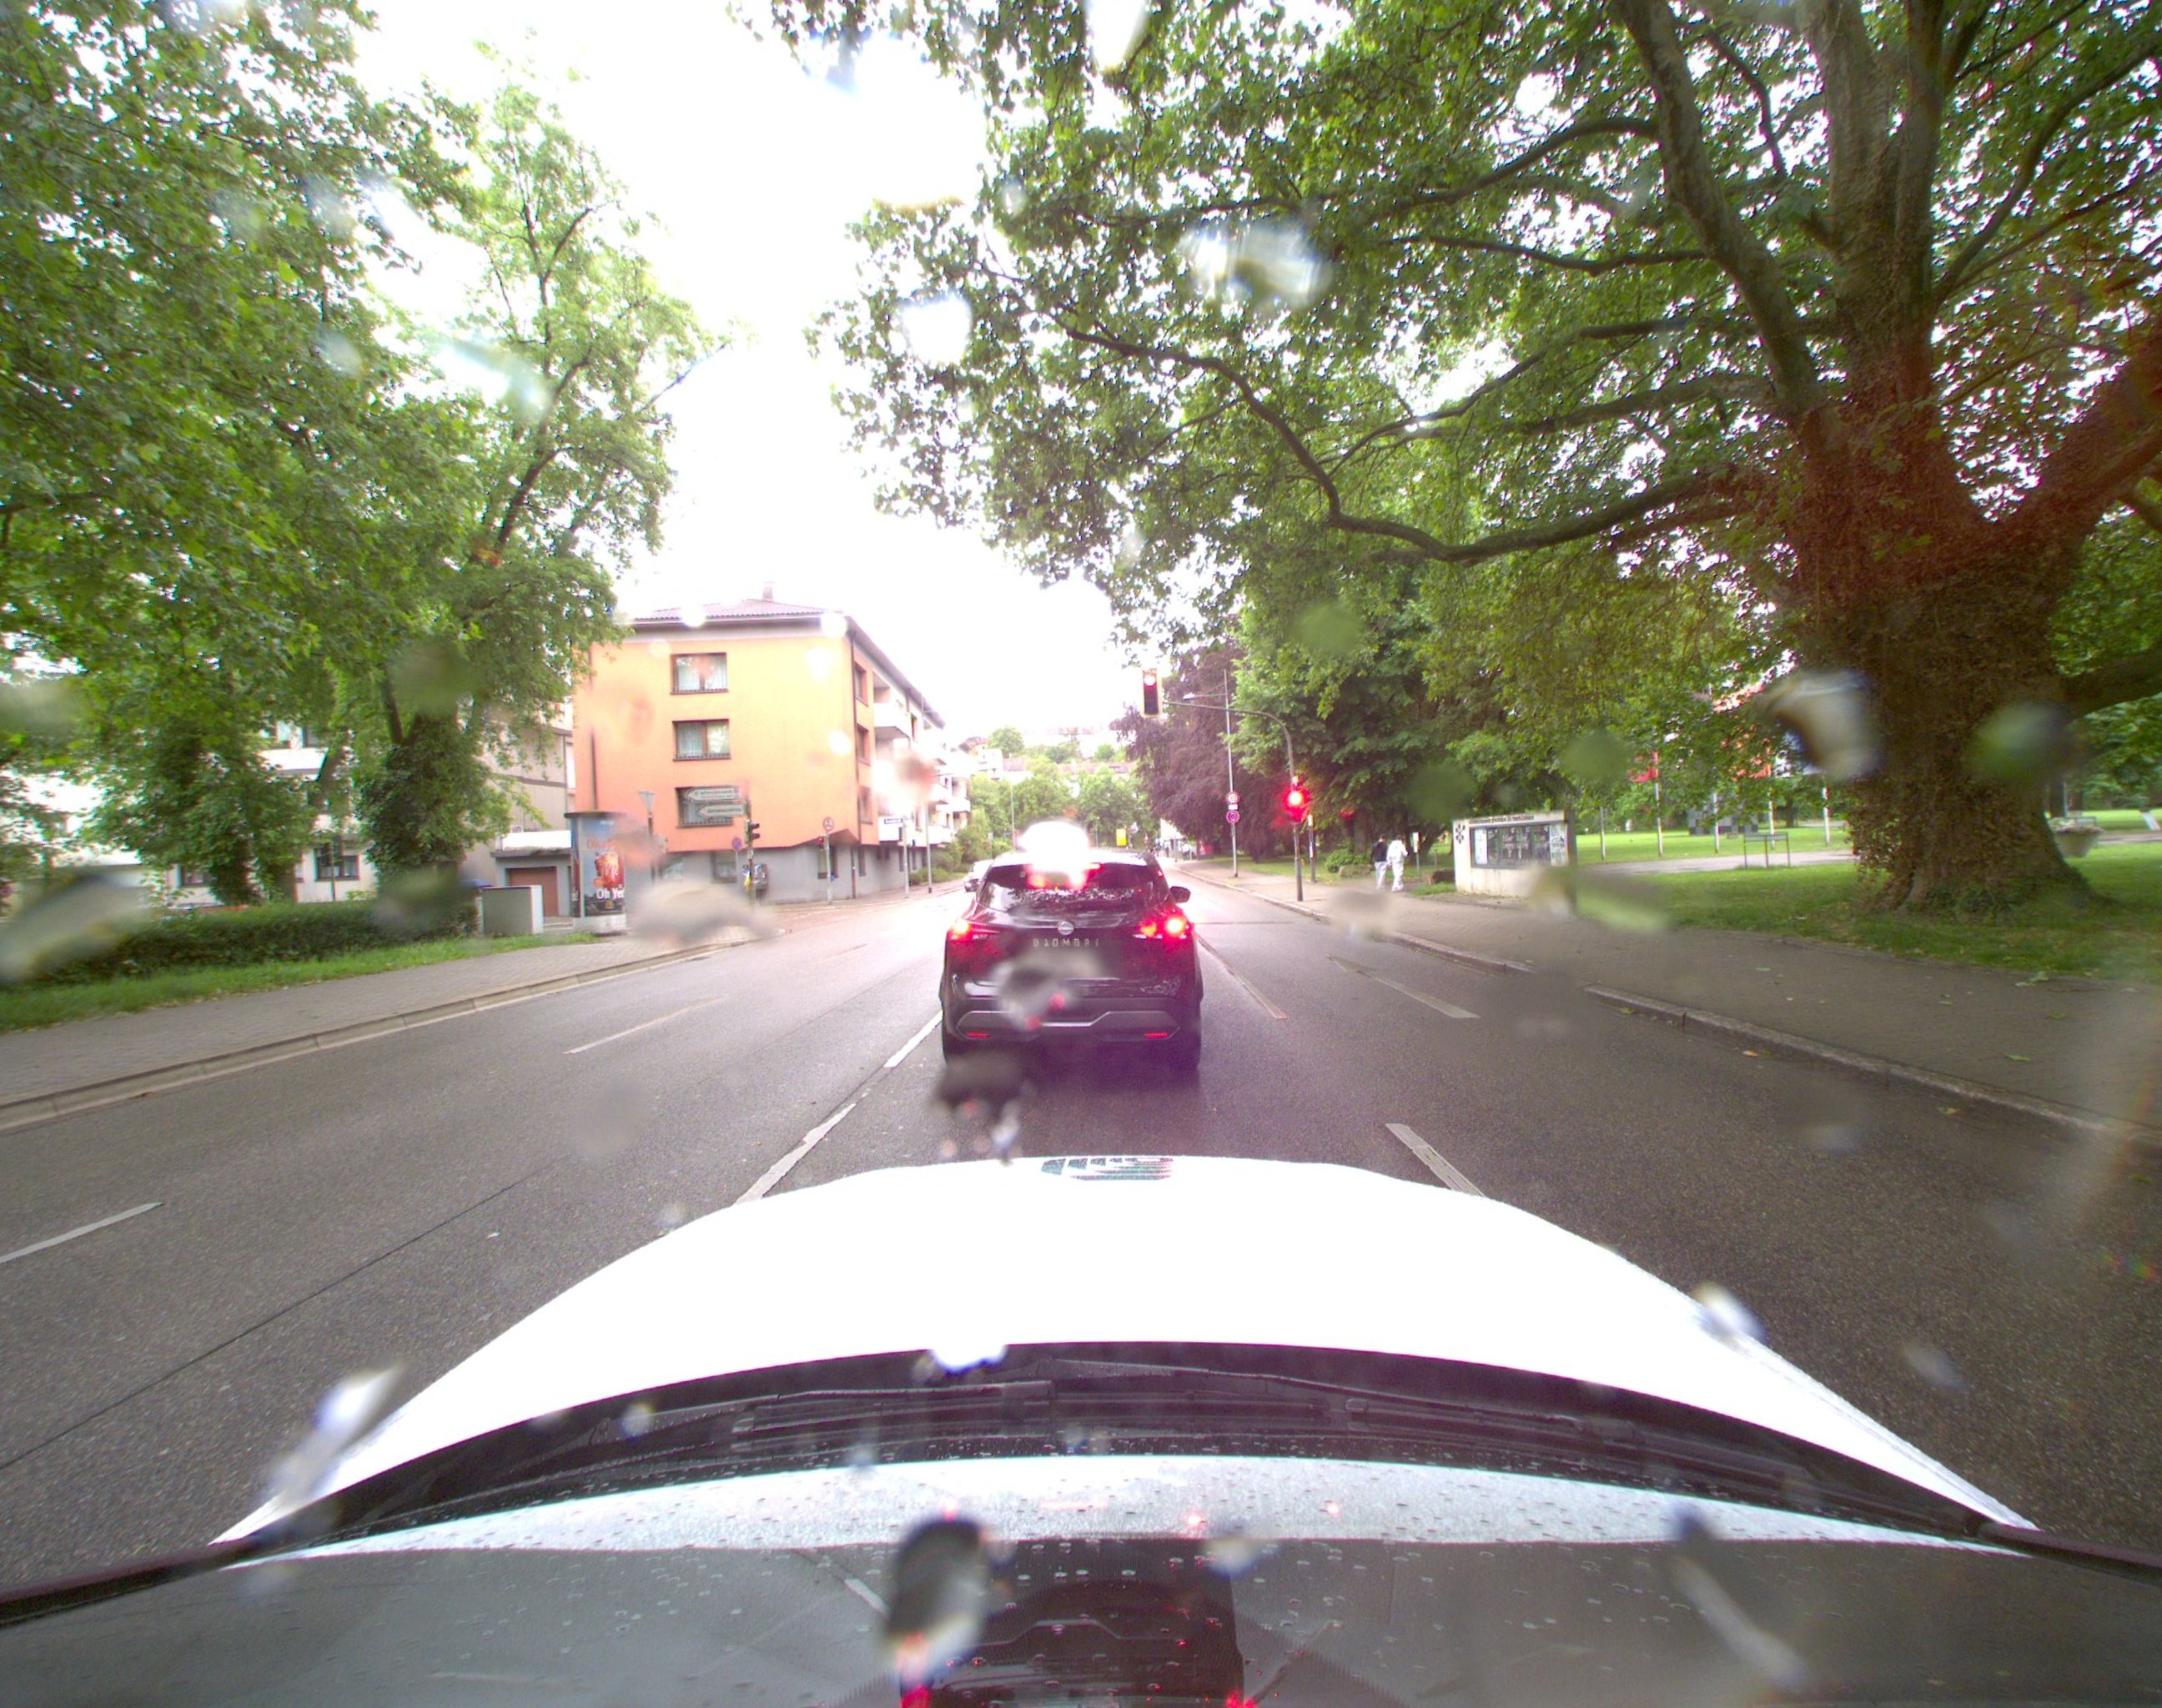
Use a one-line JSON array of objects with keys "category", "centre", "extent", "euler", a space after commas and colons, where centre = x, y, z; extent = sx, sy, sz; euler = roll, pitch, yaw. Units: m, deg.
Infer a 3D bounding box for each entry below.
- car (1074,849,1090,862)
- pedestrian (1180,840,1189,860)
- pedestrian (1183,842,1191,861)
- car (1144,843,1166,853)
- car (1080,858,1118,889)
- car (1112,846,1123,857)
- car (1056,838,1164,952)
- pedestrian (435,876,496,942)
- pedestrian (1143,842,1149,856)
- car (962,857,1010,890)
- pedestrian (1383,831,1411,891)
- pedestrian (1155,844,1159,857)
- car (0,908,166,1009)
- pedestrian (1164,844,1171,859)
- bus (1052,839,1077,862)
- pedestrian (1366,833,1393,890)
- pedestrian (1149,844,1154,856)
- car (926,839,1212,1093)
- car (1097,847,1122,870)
[{"category": "car", "centre": [0.160, 0.180, 93.509], "extent": [1.618, 1.415, 3.456], "euler": [-3, 0, 2]}, {"category": "pedestrian", "centre": [10.532, -0.430, 83.072], "extent": [0.672, 2.013, 0.777], "euler": [-3, 0, 1]}, {"category": "pedestrian", "centre": [10.261, -0.237, 78.704], "extent": [0.616, 1.779, 0.779], "euler": [-3, 0, 1]}, {"category": "car", "centre": [14.788, -1.213, 163.126], "extent": [3.986, 1.684, 1.994], "euler": [-3, 0, -9]}, {"category": "car", "centre": [0.886, 0.931, 41.231], "extent": [1.802, 1.417, 4.031], "euler": [-2, 0, 1]}, {"category": "car", "centre": [6.170, -0.393, 136.553], "extent": [1.743, 1.633, 3.636], "euler": [-3, 0, 2]}, {"category": "car", "centre": [0.573, 0.647, 14.811], "extent": [1.615, 1.709, 3.774], "euler": [-3, 0, 3]}, {"category": "pedestrian", "centre": [-16.987, 1.489, 22.520], "extent": [0.995, 1.742, 1.201], "euler": [-1, 0, -19]}, {"category": "pedestrian", "centre": [9.840, -0.767, 123.145], "extent": [0.764, 2.183, 0.712], "euler": [0, -1, 5]}, {"category": "car", "centre": [-4.721, 0.961, 41.160], "extent": [1.802, 1.417, 4.031], "euler": [-4, 0, 1]}, {"category": "pedestrian", "centre": [9.294, 0.215, 23.969], "extent": [0.502, 1.721, 0.559], "euler": [-3, 0, -5]}, {"category": "pedestrian", "centre": [10.393, -0.473, 111.297], "extent": [0.513, 1.655, 0.550], "euler": [0, -1, 1]}, {"category": "car", "centre": [-18.003, 1.738, 13.820], "extent": [3.182, 1.524, 1.507], "euler": [0, -1, -1]}, {"category": "pedestrian", "centre": [10.560, -0.264, 99.423], "extent": [0.616, 1.779, 0.551], "euler": [-3, 0, 1]}, {"category": "bus", "centre": [-2.276, -0.446, 115.490], "extent": [2.756, 2.974, 11.786], "euler": [-3, 0, 2]}, {"category": "pedestrian", "centre": [9.208, 0.225, 25.142], "extent": [0.484, 1.721, 0.559], "euler": [-3, 0, -5]}, {"category": "pedestrian", "centre": [9.732, -0.549, 112.423], "extent": [0.542, 1.651, 0.490], "euler": [0, -1, 2]}, {"category": "car", "centre": [-0.017, 0.722, 7.145], "extent": [1.799, 1.590, 4.001], "euler": [0, -1, 2]}, {"category": "car", "centre": [1.956, 0.300, 55.764], "extent": [1.618, 1.415, 3.456], "euler": [-3, 0, 2]}]
